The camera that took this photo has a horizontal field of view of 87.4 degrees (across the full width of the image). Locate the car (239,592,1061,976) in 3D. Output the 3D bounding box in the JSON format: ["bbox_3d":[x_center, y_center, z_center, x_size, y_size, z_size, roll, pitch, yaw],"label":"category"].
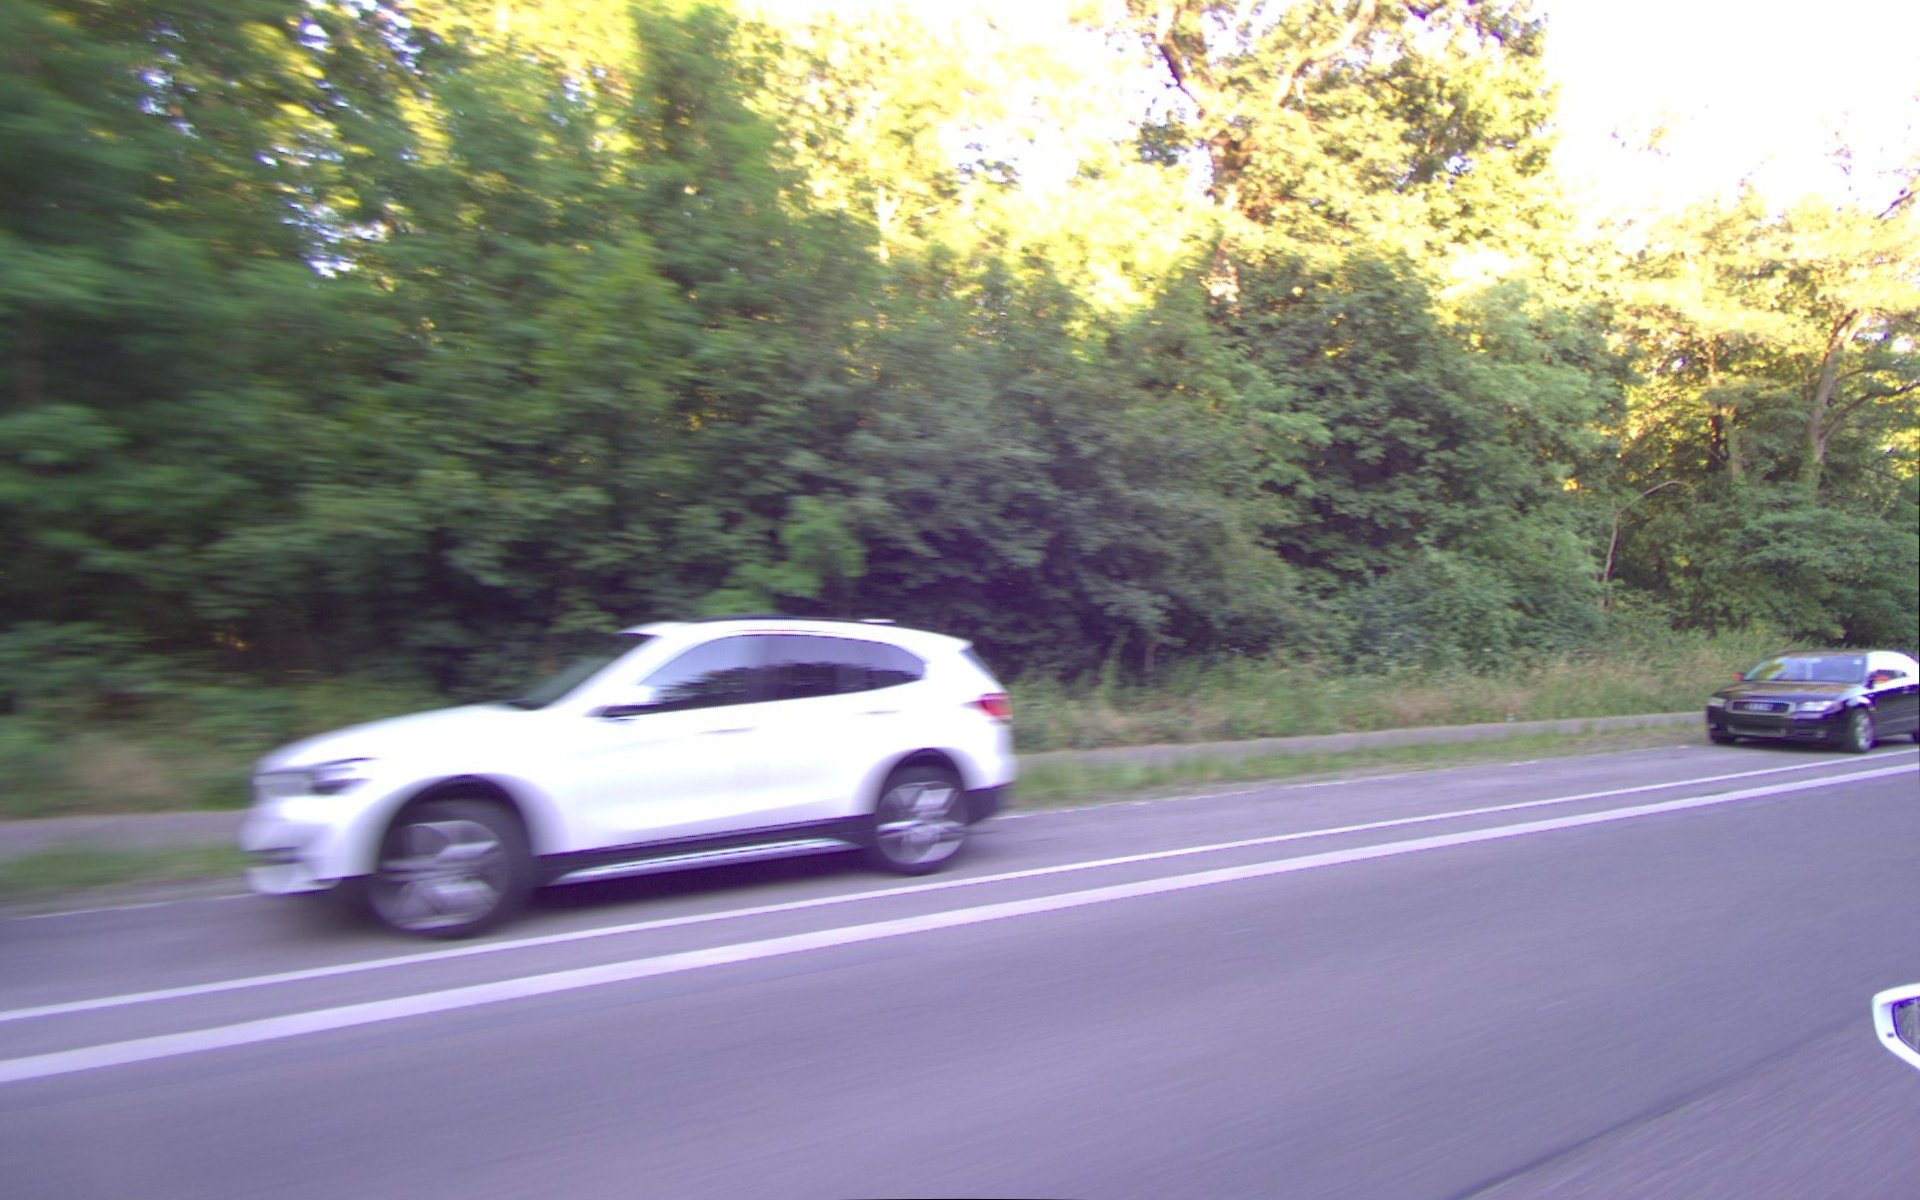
[{"bbox_3d":[-1.665,0.886,6.329,4.522,1.667,1.686,2,-3,-32],"label":"car"}]

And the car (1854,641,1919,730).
[{"bbox_3d":[18.012,1.515,18.197,3.615,1.528,1.703,2,-3,-31],"label":"car"}]

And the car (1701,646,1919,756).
[{"bbox_3d":[12.769,1.393,14.787,4.005,1.413,1.589,2,-2,-31],"label":"car"}]

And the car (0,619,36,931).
[{"bbox_3d":[-6.117,0.810,3.692,3.694,1.540,1.663,2,-3,-32],"label":"car"}]
